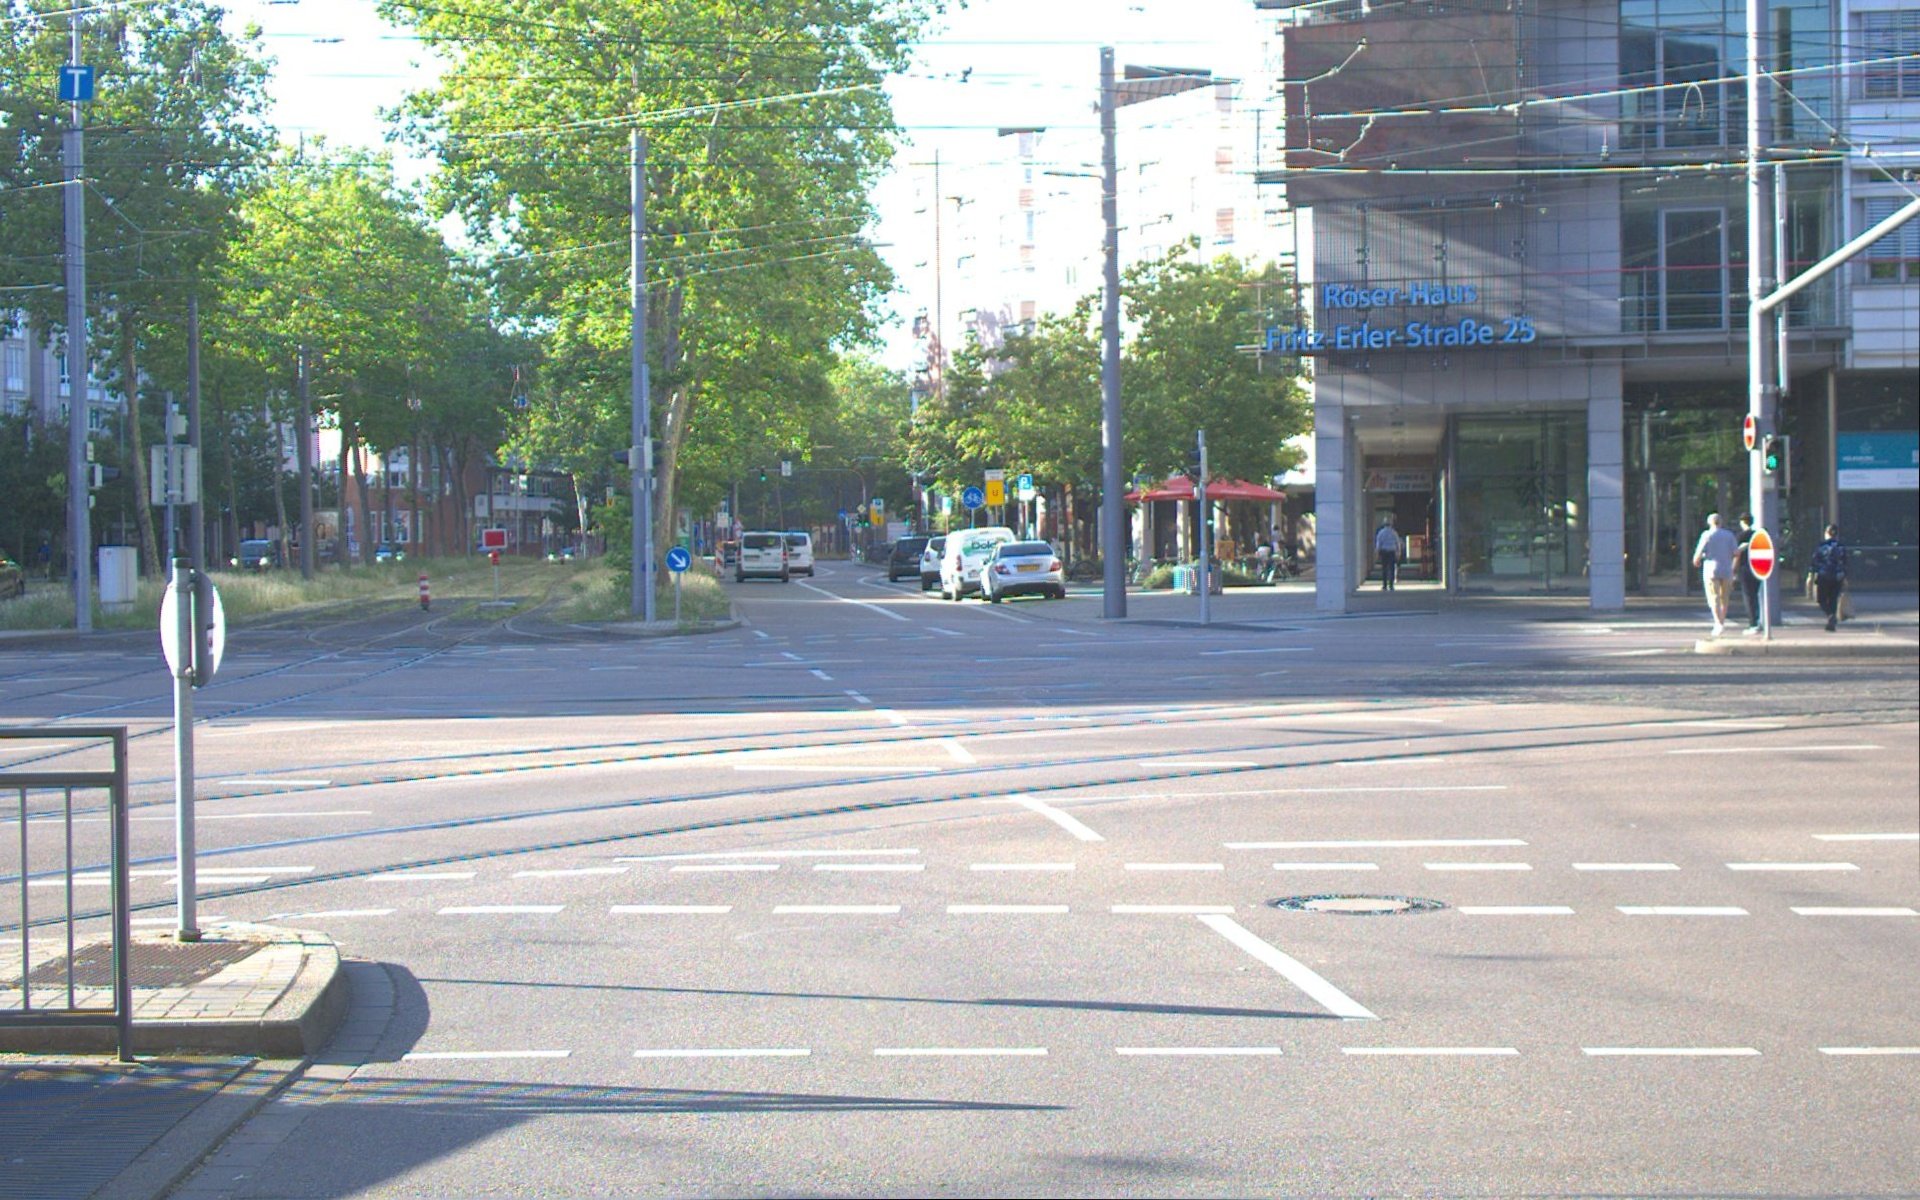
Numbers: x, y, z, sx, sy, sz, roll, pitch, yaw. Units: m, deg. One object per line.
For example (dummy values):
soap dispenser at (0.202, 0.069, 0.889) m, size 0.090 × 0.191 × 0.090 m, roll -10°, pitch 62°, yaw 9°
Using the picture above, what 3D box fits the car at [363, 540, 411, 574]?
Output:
car at (-31.763, -2.402, 190.720) m, size 1.993 × 1.809 × 4.000 m, roll -1°, pitch 1°, yaw -1°

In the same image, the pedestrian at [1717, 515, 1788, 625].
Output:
pedestrian at (12.262, -0.470, 53.229) m, size 0.912 × 1.679 × 1.035 m, roll -1°, pitch 1°, yaw 4°

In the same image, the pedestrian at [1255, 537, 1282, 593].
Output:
pedestrian at (9.425, -1.073, 105.003) m, size 0.744 × 1.708 × 0.612 m, roll -1°, pitch 1°, yaw -1°

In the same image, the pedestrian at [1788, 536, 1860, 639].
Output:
pedestrian at (13.329, -0.199, 53.068) m, size 0.948 × 1.558 × 0.897 m, roll -1°, pitch 1°, yaw 6°

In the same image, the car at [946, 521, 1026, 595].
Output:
car at (0.648, -1.105, 89.561) m, size 1.993 × 1.853 × 4.000 m, roll -1°, pitch 1°, yaw -1°

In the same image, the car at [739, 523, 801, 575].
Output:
car at (-6.900, -1.864, 125.302) m, size 1.961 × 1.842 × 5.330 m, roll -1°, pitch 1°, yaw 0°

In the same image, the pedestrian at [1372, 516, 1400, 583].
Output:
pedestrian at (9.594, -1.135, 77.430) m, size 0.612 × 1.502 × 0.579 m, roll -1°, pitch 1°, yaw 7°

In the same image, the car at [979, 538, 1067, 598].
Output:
car at (1.493, -0.795, 82.766) m, size 1.993 × 1.371 × 4.000 m, roll -1°, pitch 1°, yaw -1°

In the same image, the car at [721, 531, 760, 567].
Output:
car at (-12.576, -2.952, 197.009) m, size 1.993 × 2.007 × 4.000 m, roll -1°, pitch 1°, yaw -1°

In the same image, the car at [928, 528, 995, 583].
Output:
car at (0.037, -1.370, 105.207) m, size 1.993 × 1.612 × 4.000 m, roll -1°, pitch 1°, yaw 0°

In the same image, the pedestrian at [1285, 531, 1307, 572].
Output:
pedestrian at (10.748, -1.549, 110.011) m, size 0.577 × 1.284 × 0.910 m, roll -1°, pitch 1°, yaw -1°

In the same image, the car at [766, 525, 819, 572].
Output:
car at (-6.962, -2.152, 143.095) m, size 1.993 × 1.905 × 4.000 m, roll -1°, pitch 1°, yaw -1°

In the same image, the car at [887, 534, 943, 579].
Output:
car at (-1.642, -1.610, 126.657) m, size 1.993 × 1.612 × 4.000 m, roll -1°, pitch 1°, yaw 0°

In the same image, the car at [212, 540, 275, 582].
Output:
car at (-31.907, -1.729, 153.122) m, size 1.993 × 1.809 × 4.000 m, roll -1°, pitch 1°, yaw -1°

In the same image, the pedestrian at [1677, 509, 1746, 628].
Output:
pedestrian at (11.416, -0.479, 52.249) m, size 0.863 × 1.782 × 0.871 m, roll -1°, pitch 1°, yaw 2°

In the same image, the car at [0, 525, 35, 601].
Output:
car at (-21.665, -0.808, 74.915) m, size 1.993 × 1.634 × 4.000 m, roll -1°, pitch 1°, yaw -1°
